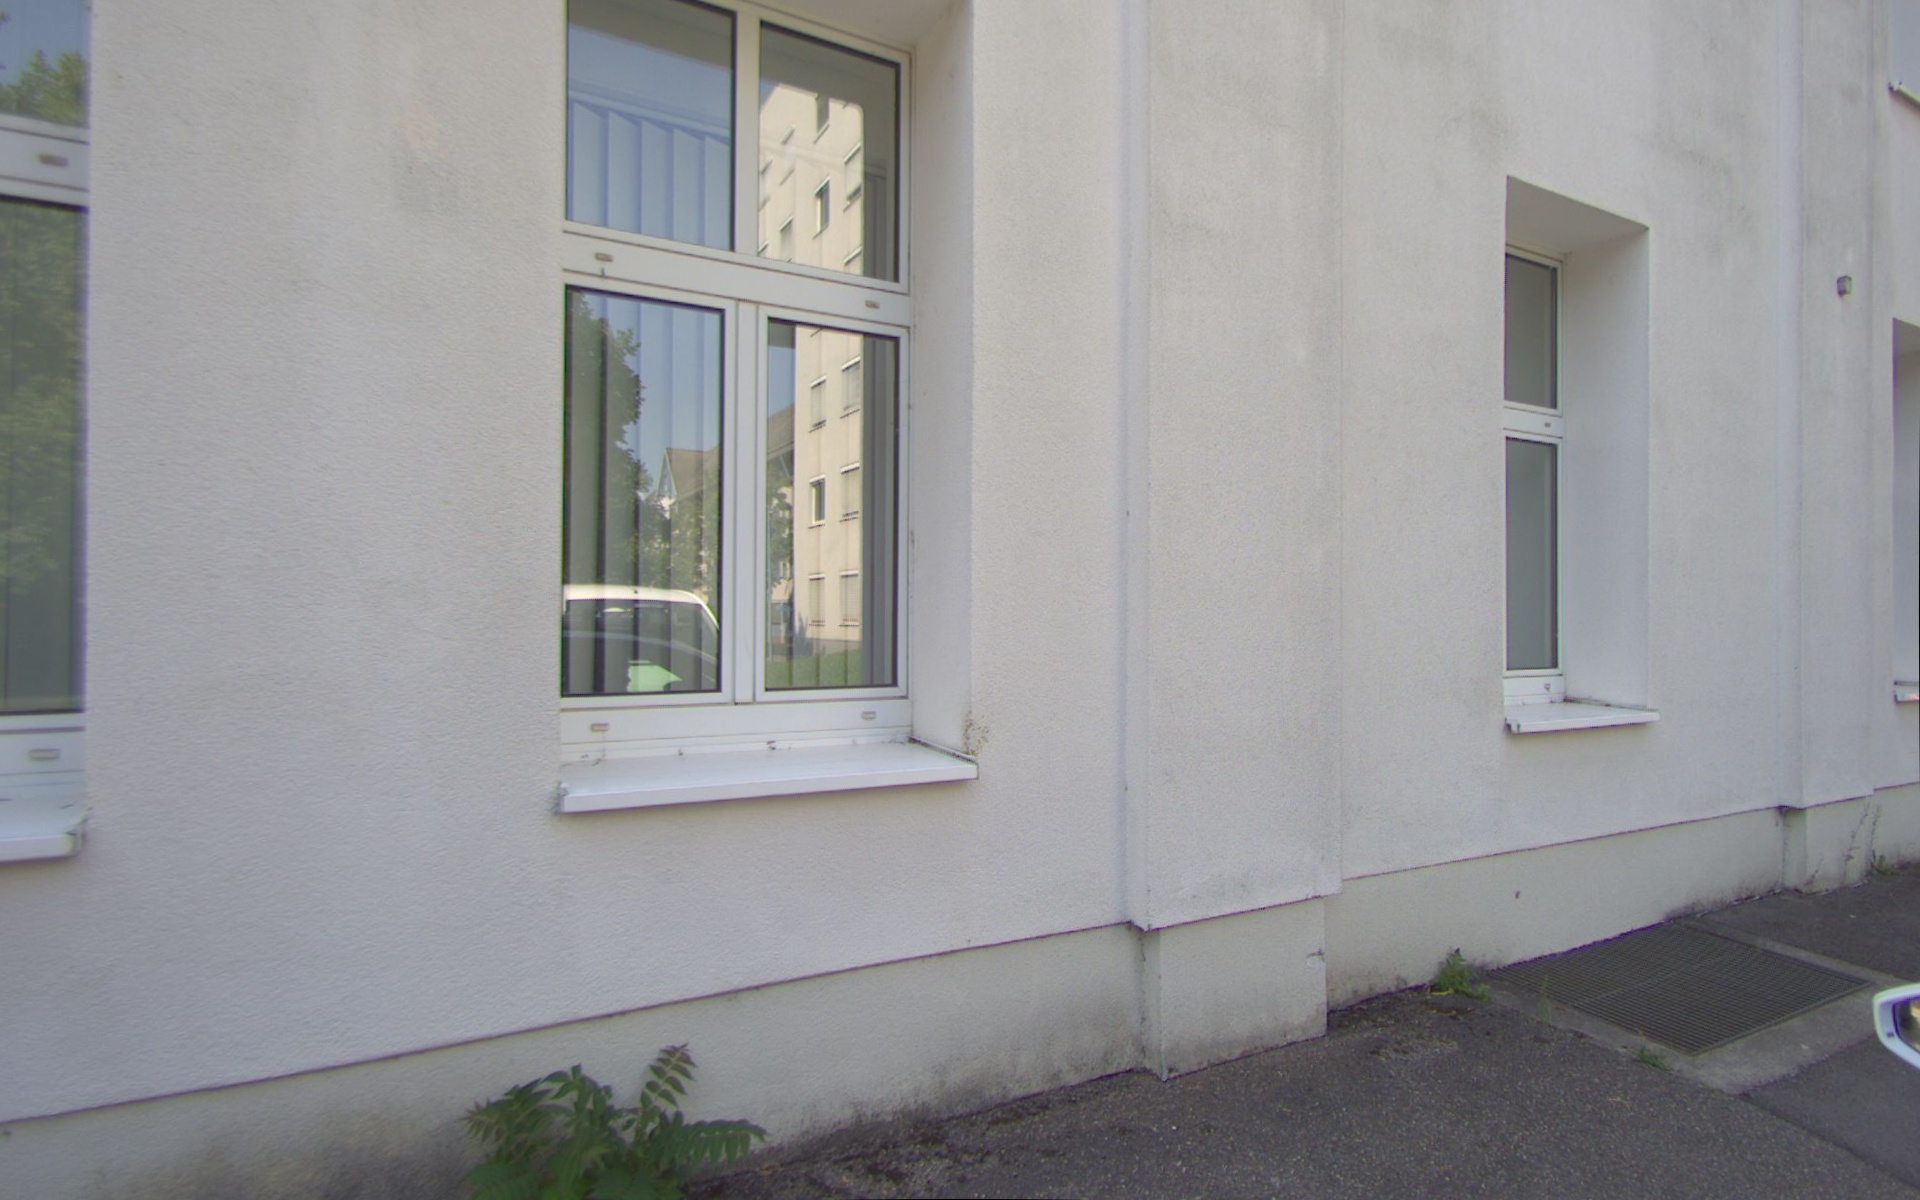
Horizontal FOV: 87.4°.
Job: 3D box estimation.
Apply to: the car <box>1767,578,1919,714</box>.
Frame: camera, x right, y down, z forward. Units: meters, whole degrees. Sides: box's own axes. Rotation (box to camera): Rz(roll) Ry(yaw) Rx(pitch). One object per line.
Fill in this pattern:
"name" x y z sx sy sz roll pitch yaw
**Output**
"car" 16.013 0.709 15.832 2.030 2.121 4.727 -1 1 -28
